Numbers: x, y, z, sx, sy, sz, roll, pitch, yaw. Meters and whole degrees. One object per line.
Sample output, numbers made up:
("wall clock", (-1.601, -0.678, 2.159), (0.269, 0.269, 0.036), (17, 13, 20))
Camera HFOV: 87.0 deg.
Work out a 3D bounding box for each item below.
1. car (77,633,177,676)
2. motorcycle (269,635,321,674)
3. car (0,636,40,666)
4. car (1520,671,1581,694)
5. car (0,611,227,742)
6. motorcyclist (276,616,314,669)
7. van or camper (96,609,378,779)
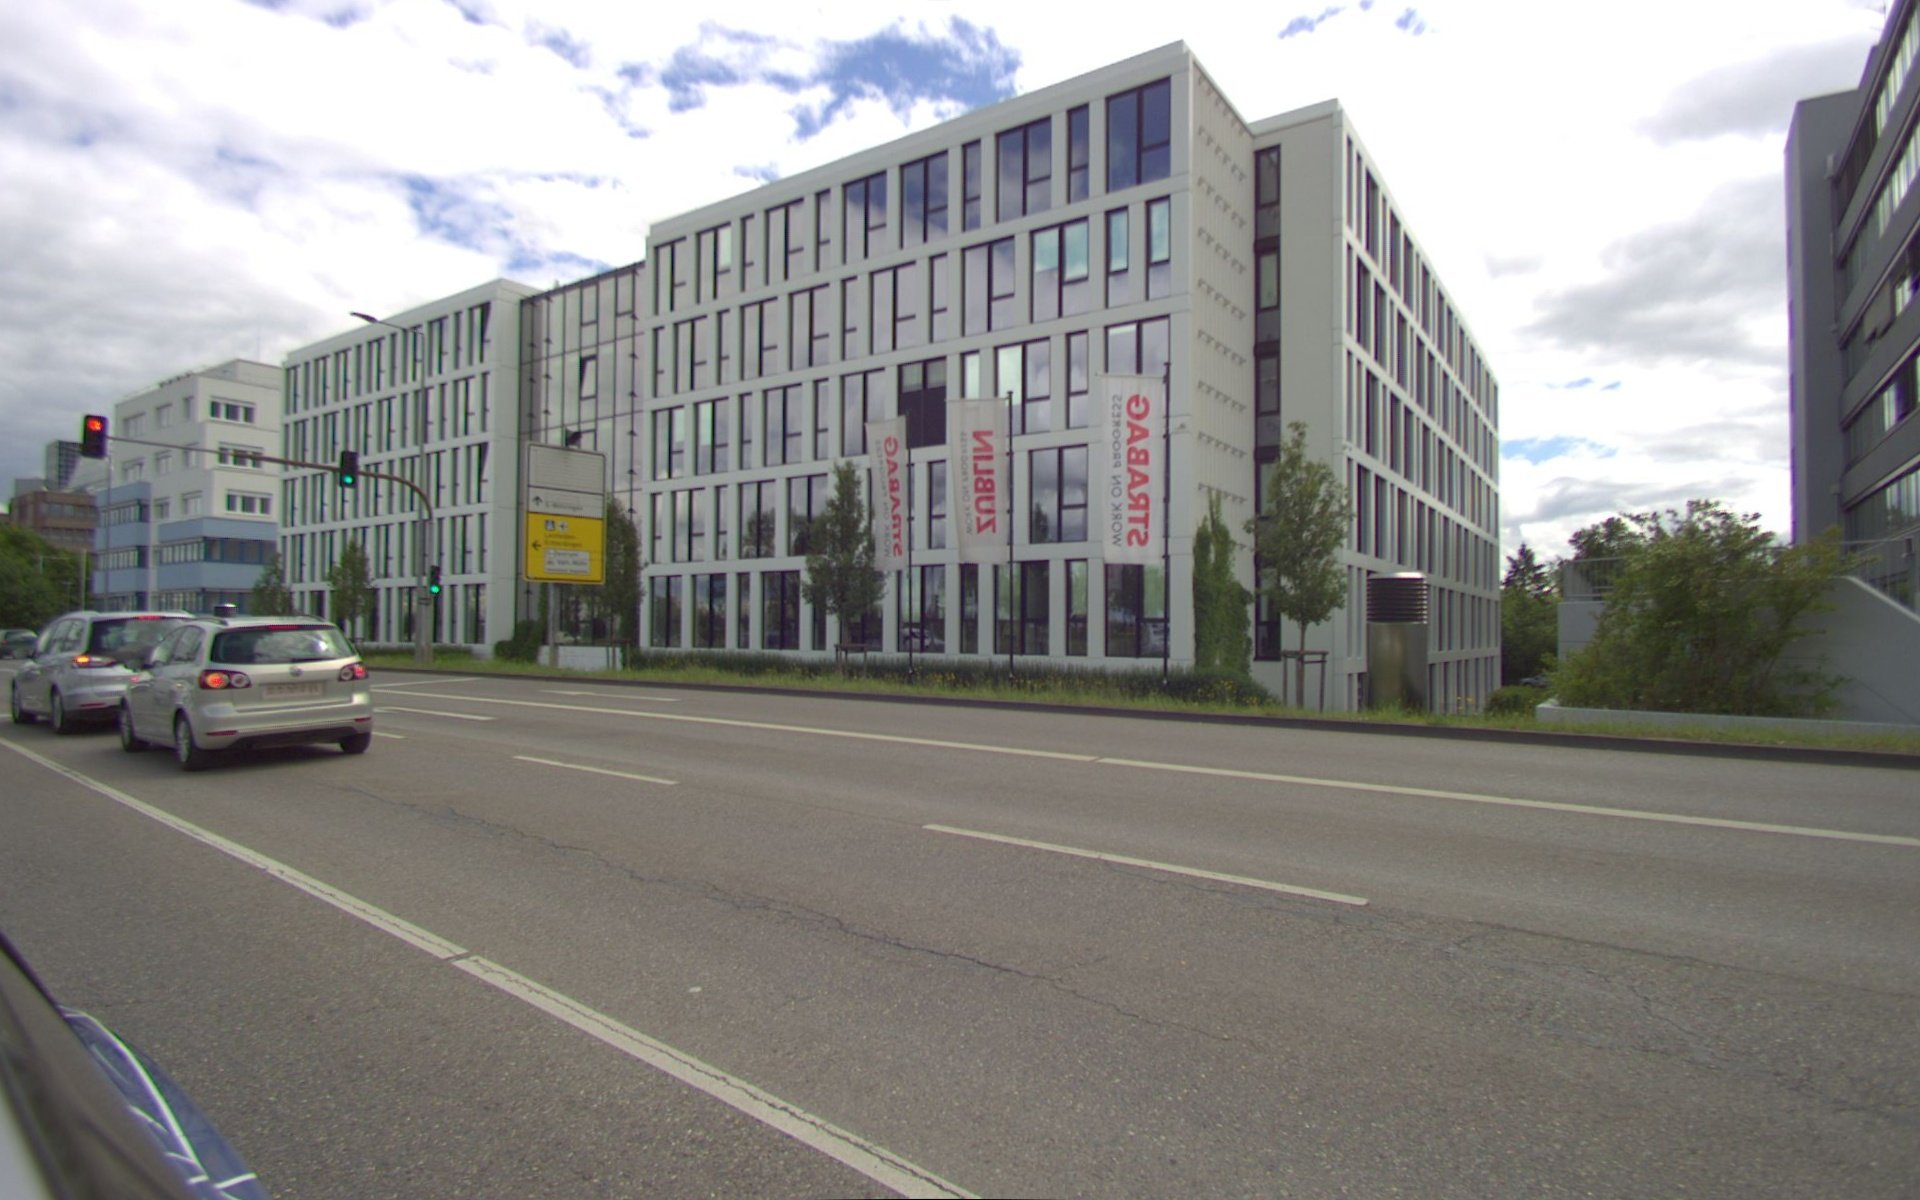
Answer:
("car", (-28.685, 1.851, 34.820), (3.631, 1.365, 1.729), (-2, -1, 34))
("motorcycle", (-19.566, 1.592, 29.768), (1.930, 1.121, 0.648), (-2, -1, 36))
("car", (-47.292, 2.541, 50.311), (3.632, 1.402, 1.590), (-2, -1, 35))
("car", (52.196, 7.287, 89.476), (4.544, 1.848, 1.845), (-2, -1, 33))
("car", (-12.941, 1.073, 15.354), (4.365, 1.708, 1.849), (-2, -1, 38))
("motorcyclist", (-19.578, 1.237, 29.781), (0.916, 1.521, 0.648), (-2, -2, 35))
("van or camper", (-8.433, 0.961, 11.669), (4.043, 1.622, 1.726), (-2, -2, 40))
